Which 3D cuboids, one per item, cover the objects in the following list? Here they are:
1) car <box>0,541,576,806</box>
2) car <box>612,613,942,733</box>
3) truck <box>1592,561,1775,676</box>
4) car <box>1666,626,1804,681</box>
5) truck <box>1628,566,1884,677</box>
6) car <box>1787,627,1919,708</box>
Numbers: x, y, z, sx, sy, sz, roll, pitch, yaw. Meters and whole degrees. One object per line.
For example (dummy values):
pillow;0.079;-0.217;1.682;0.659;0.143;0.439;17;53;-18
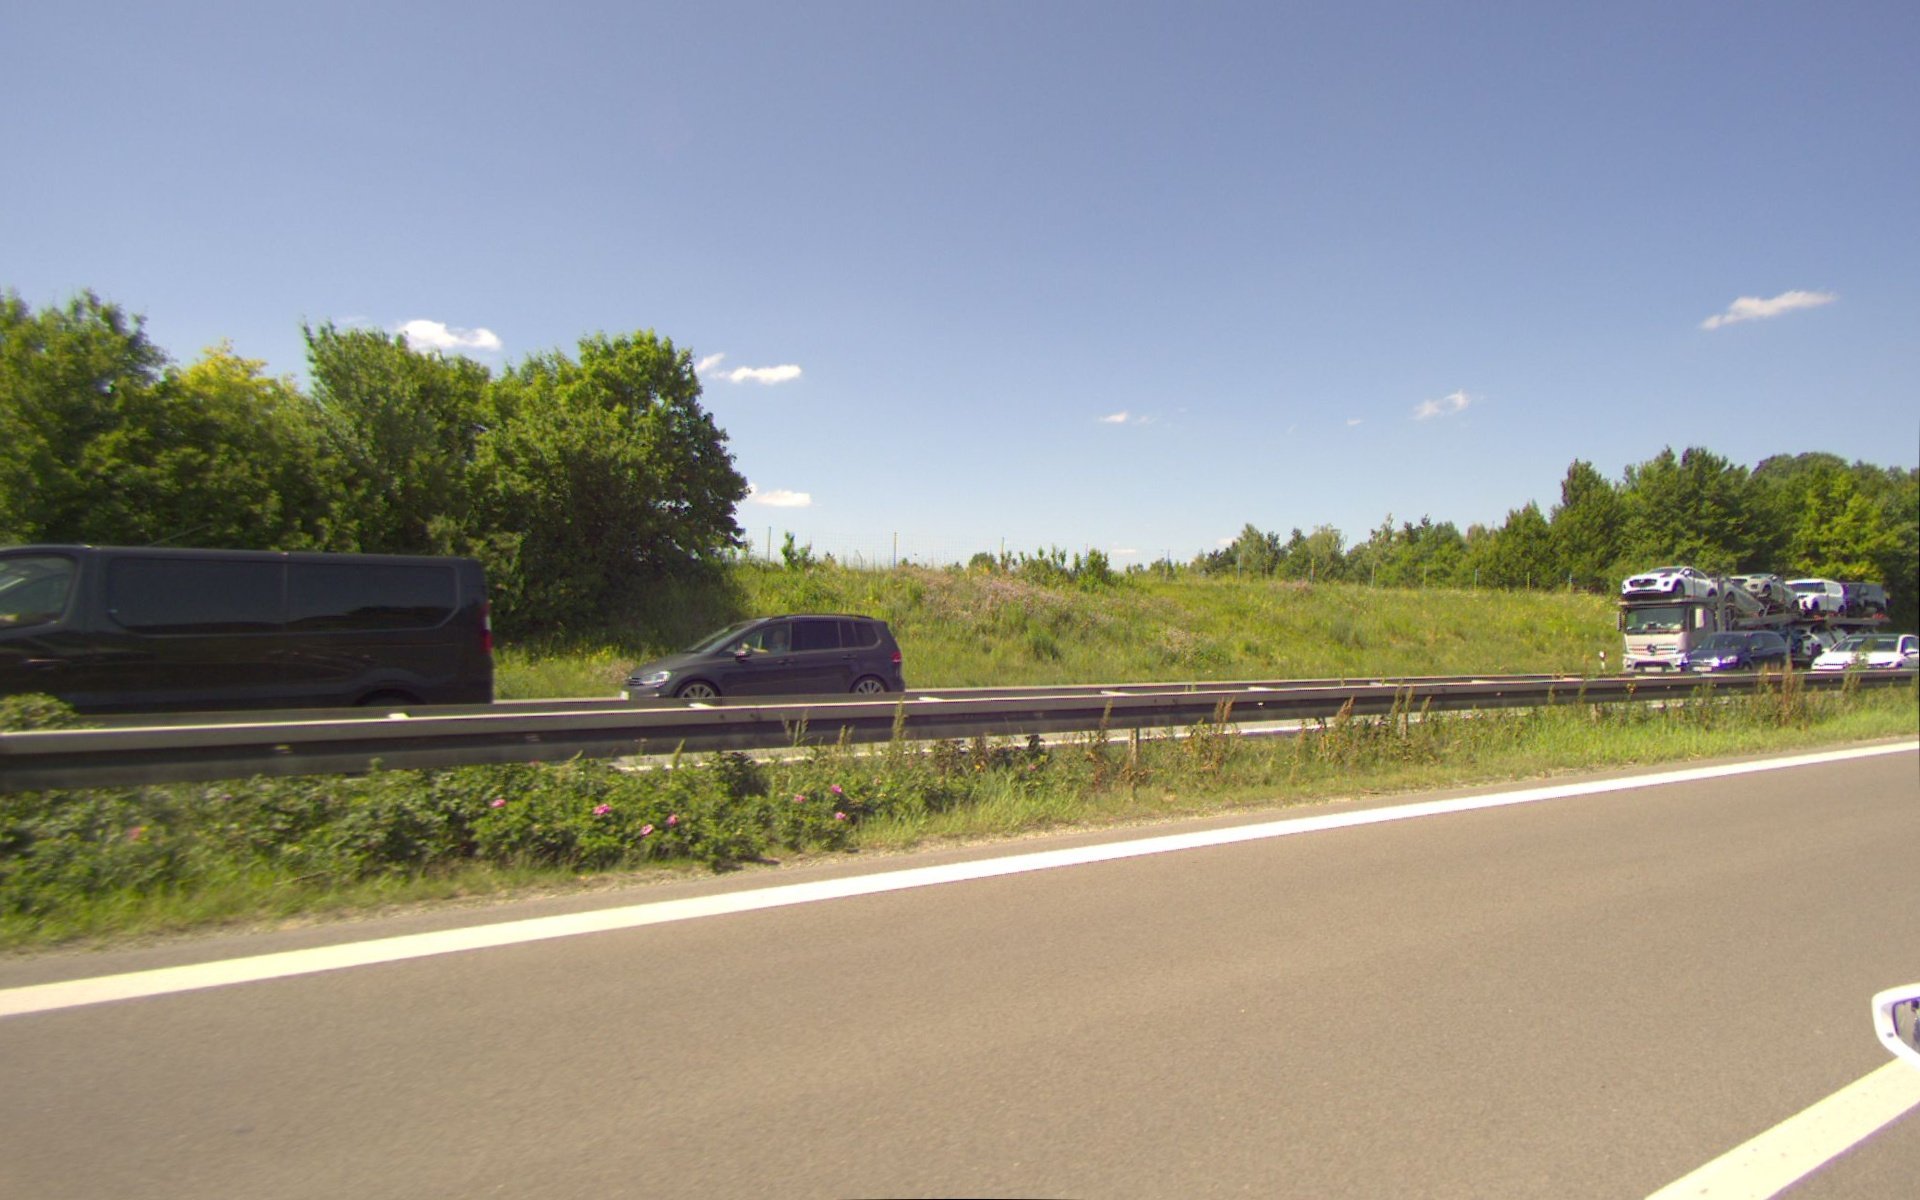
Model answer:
car;-6.602;0.591;9.023;5.623;1.971;2.080;1;-2;-31
car;-2.866;1.084;16.076;4.839;1.662;1.955;1;-2;-31
truck;28.138;0.778;39.000;7.312;4.103;3.224;1;-2;-32
car;25.012;1.686;32.381;4.527;1.635;1.984;1;-2;-30
truck;34.389;1.027;42.905;16.488;4.103;3.195;1;-2;-32
car;25.070;1.844;27.693;4.857;2.040;1.984;3;-2;-30
